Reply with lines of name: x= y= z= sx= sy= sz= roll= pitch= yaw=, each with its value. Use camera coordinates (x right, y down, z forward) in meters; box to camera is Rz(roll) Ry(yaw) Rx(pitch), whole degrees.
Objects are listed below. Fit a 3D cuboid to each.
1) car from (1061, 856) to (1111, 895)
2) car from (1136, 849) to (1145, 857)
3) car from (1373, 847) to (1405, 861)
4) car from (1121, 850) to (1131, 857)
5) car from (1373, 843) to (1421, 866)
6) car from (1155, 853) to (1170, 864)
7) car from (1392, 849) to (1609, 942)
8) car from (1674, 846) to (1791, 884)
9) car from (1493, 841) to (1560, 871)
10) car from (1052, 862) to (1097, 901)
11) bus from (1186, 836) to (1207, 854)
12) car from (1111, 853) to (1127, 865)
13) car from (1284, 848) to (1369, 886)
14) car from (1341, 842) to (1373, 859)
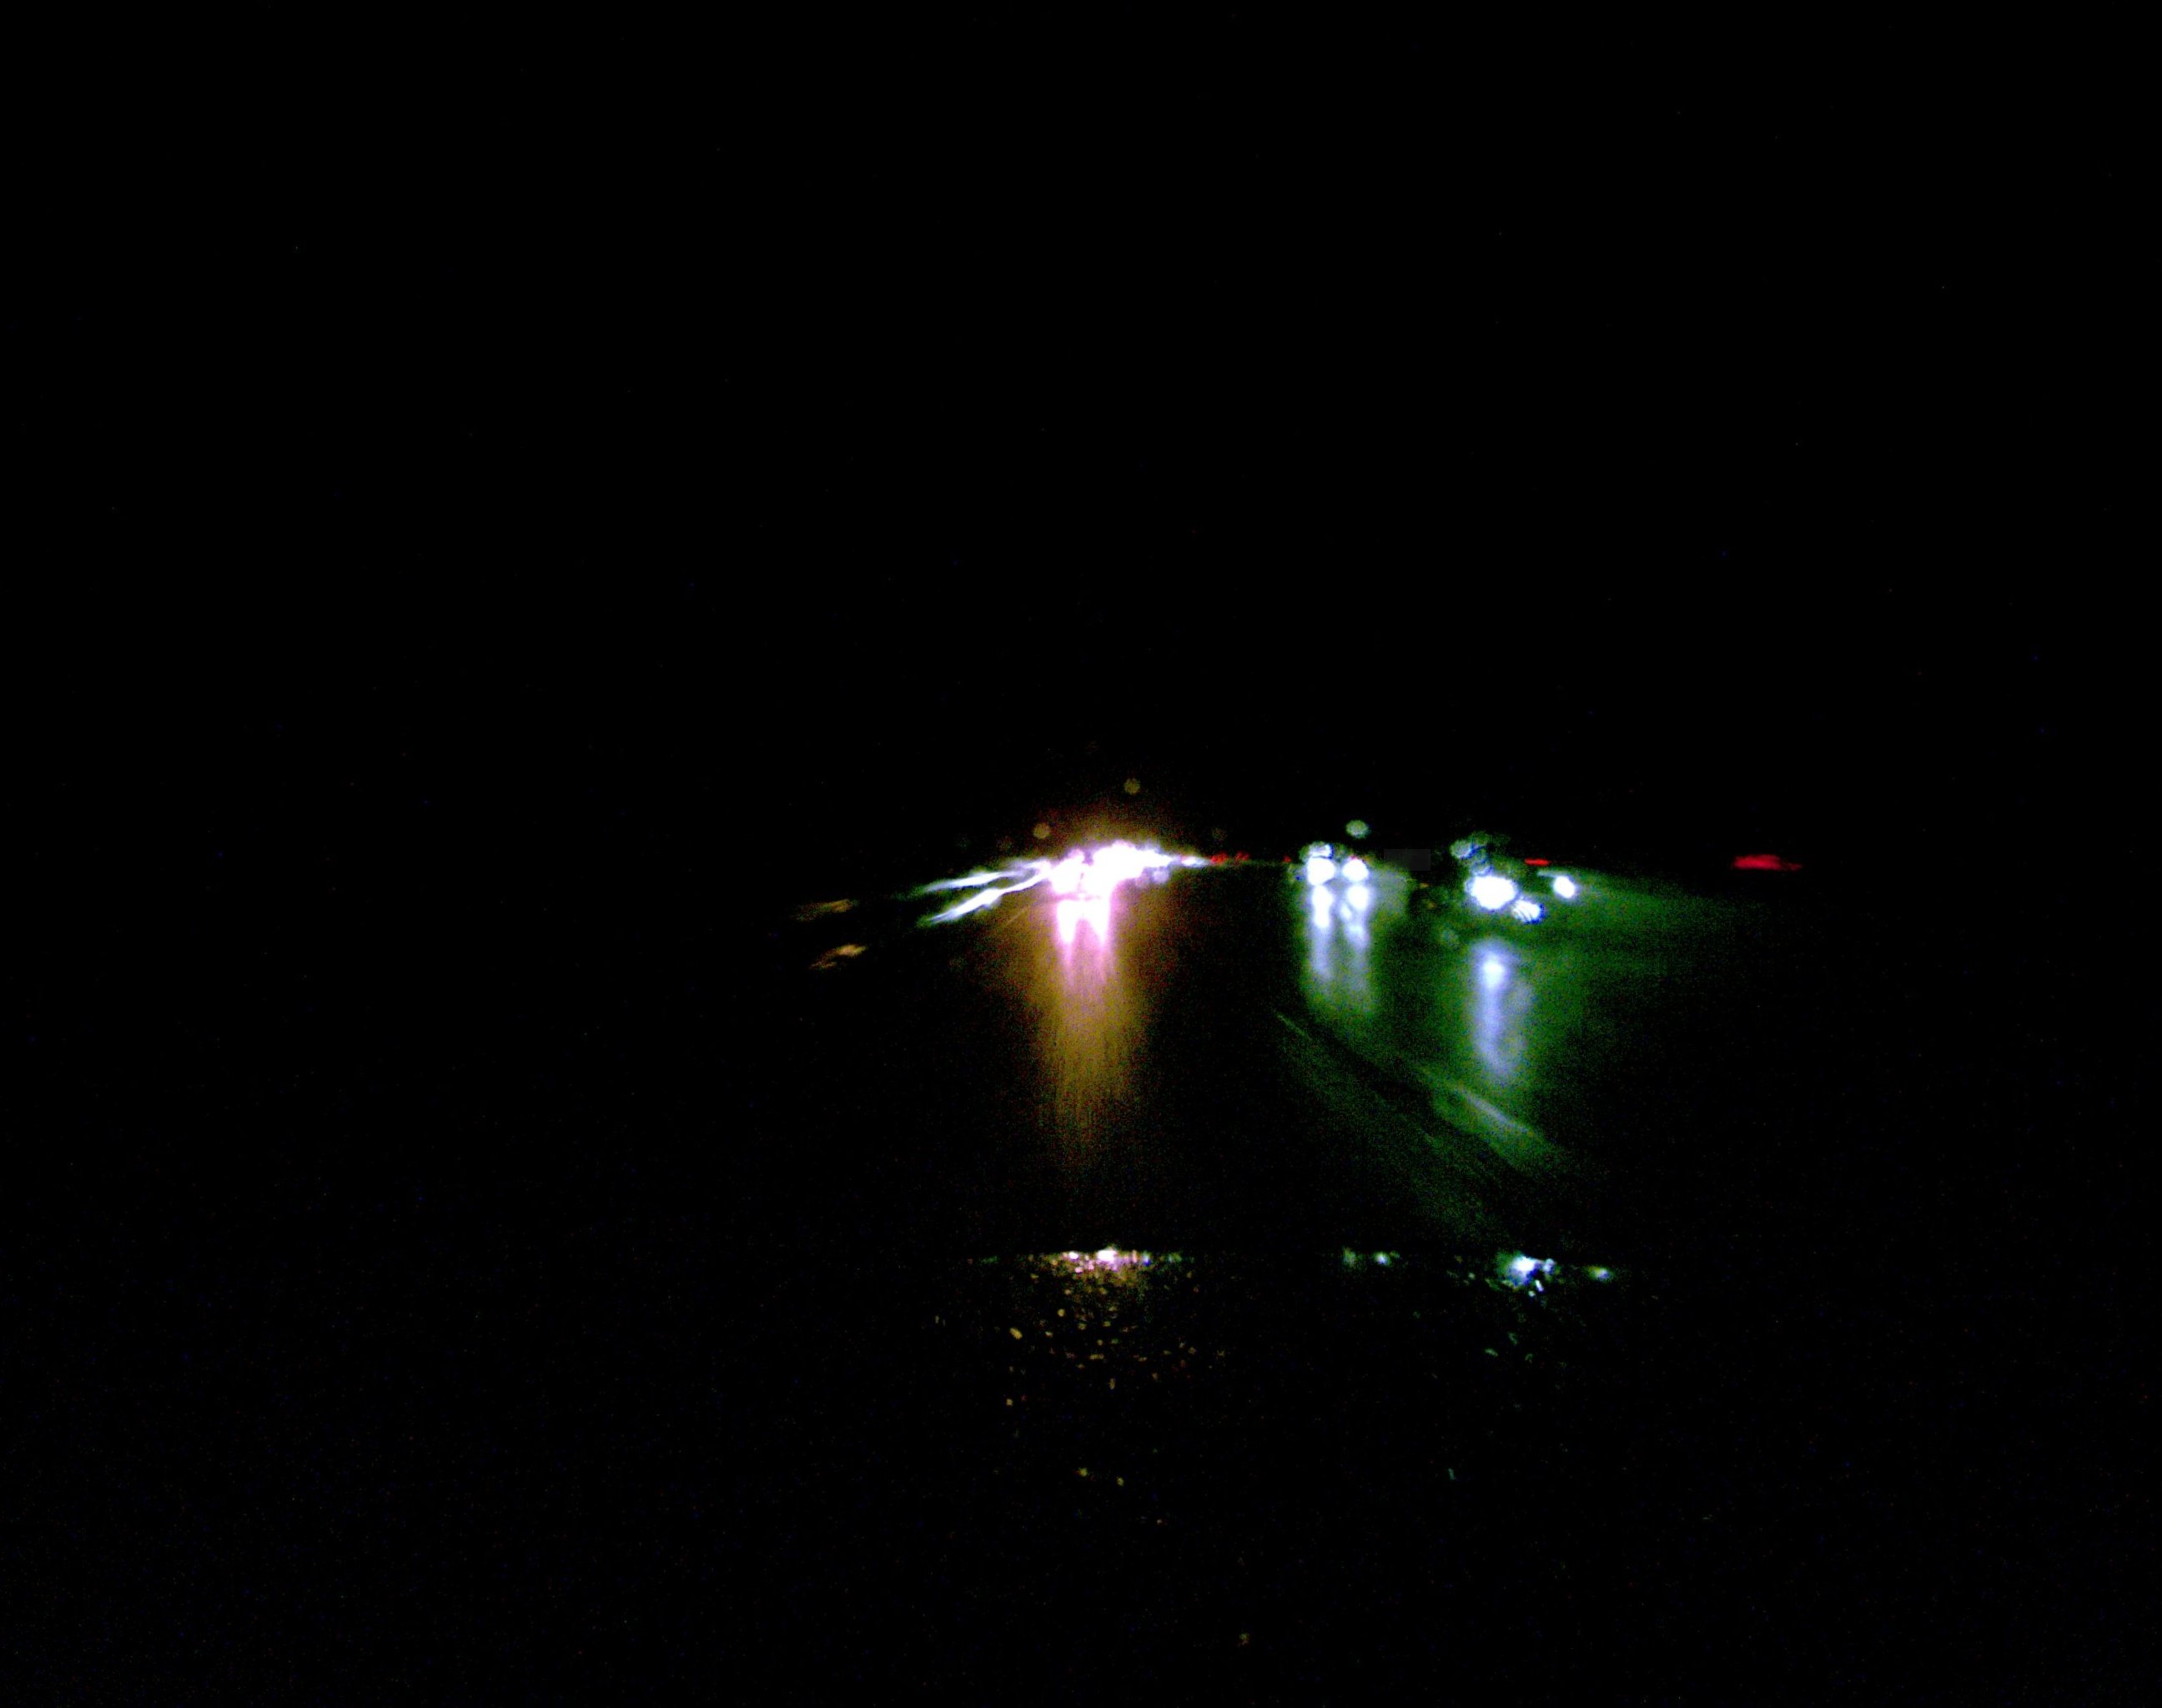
car: x=0.253 y=0.927 z=33.556 sx=1.998 sy=1.542 sz=4.001 roll=-2 pitch=-1 yaw=1
car: x=15.437 y=-0.257 z=197.103 sx=1.998 sy=1.797 sz=4.000 roll=-2 pitch=1 yaw=2
car: x=33.318 y=-0.011 z=82.321 sx=1.885 sy=1.425 sz=3.895 roll=-2 pitch=1 yaw=-1
car: x=9.821 y=-0.155 z=167.739 sx=1.998 sy=1.551 sz=4.587 roll=-2 pitch=1 yaw=1
car: x=25.520 y=0.035 z=61.565 sx=1.885 sy=1.712 sz=4.562 roll=-2 pitch=1 yaw=-1
car: x=13.305 y=0.753 z=124.745 sx=1.998 sy=1.551 sz=4.587 roll=-2 pitch=1 yaw=1
car: x=7.810 y=0.683 z=14.652 sx=1.998 sy=1.433 sz=4.000 roll=-2 pitch=1 yaw=1
car: x=32.315 y=0.492 z=37.873 sx=1.885 sy=1.712 sz=4.562 roll=-2 pitch=1 yaw=-1
car: x=28.385 y=0.086 z=48.583 sx=1.884 sy=1.712 sz=4.564 roll=-2 pitch=1 yaw=5
car: x=-0.204 y=0.986 z=28.375 sx=1.525 sy=1.256 sz=3.369 roll=-2 pitch=1 yaw=1
bus: x=30.739 y=-2.353 z=202.358 sx=3.379 sy=4.423 sz=16.541 roll=-2 pitch=1 yaw=1
car: x=5.425 y=0.749 z=108.962 sx=1.998 sy=1.551 sz=4.587 roll=-2 pitch=1 yaw=1
car: x=10.963 y=0.513 z=34.312 sx=1.999 sy=1.468 sz=5.163 roll=-2 pitch=1 yaw=-2
car: x=29.551 y=-0.396 z=81.570 sx=1.884 sy=1.712 sz=4.563 roll=-2 pitch=1 yaw=2
